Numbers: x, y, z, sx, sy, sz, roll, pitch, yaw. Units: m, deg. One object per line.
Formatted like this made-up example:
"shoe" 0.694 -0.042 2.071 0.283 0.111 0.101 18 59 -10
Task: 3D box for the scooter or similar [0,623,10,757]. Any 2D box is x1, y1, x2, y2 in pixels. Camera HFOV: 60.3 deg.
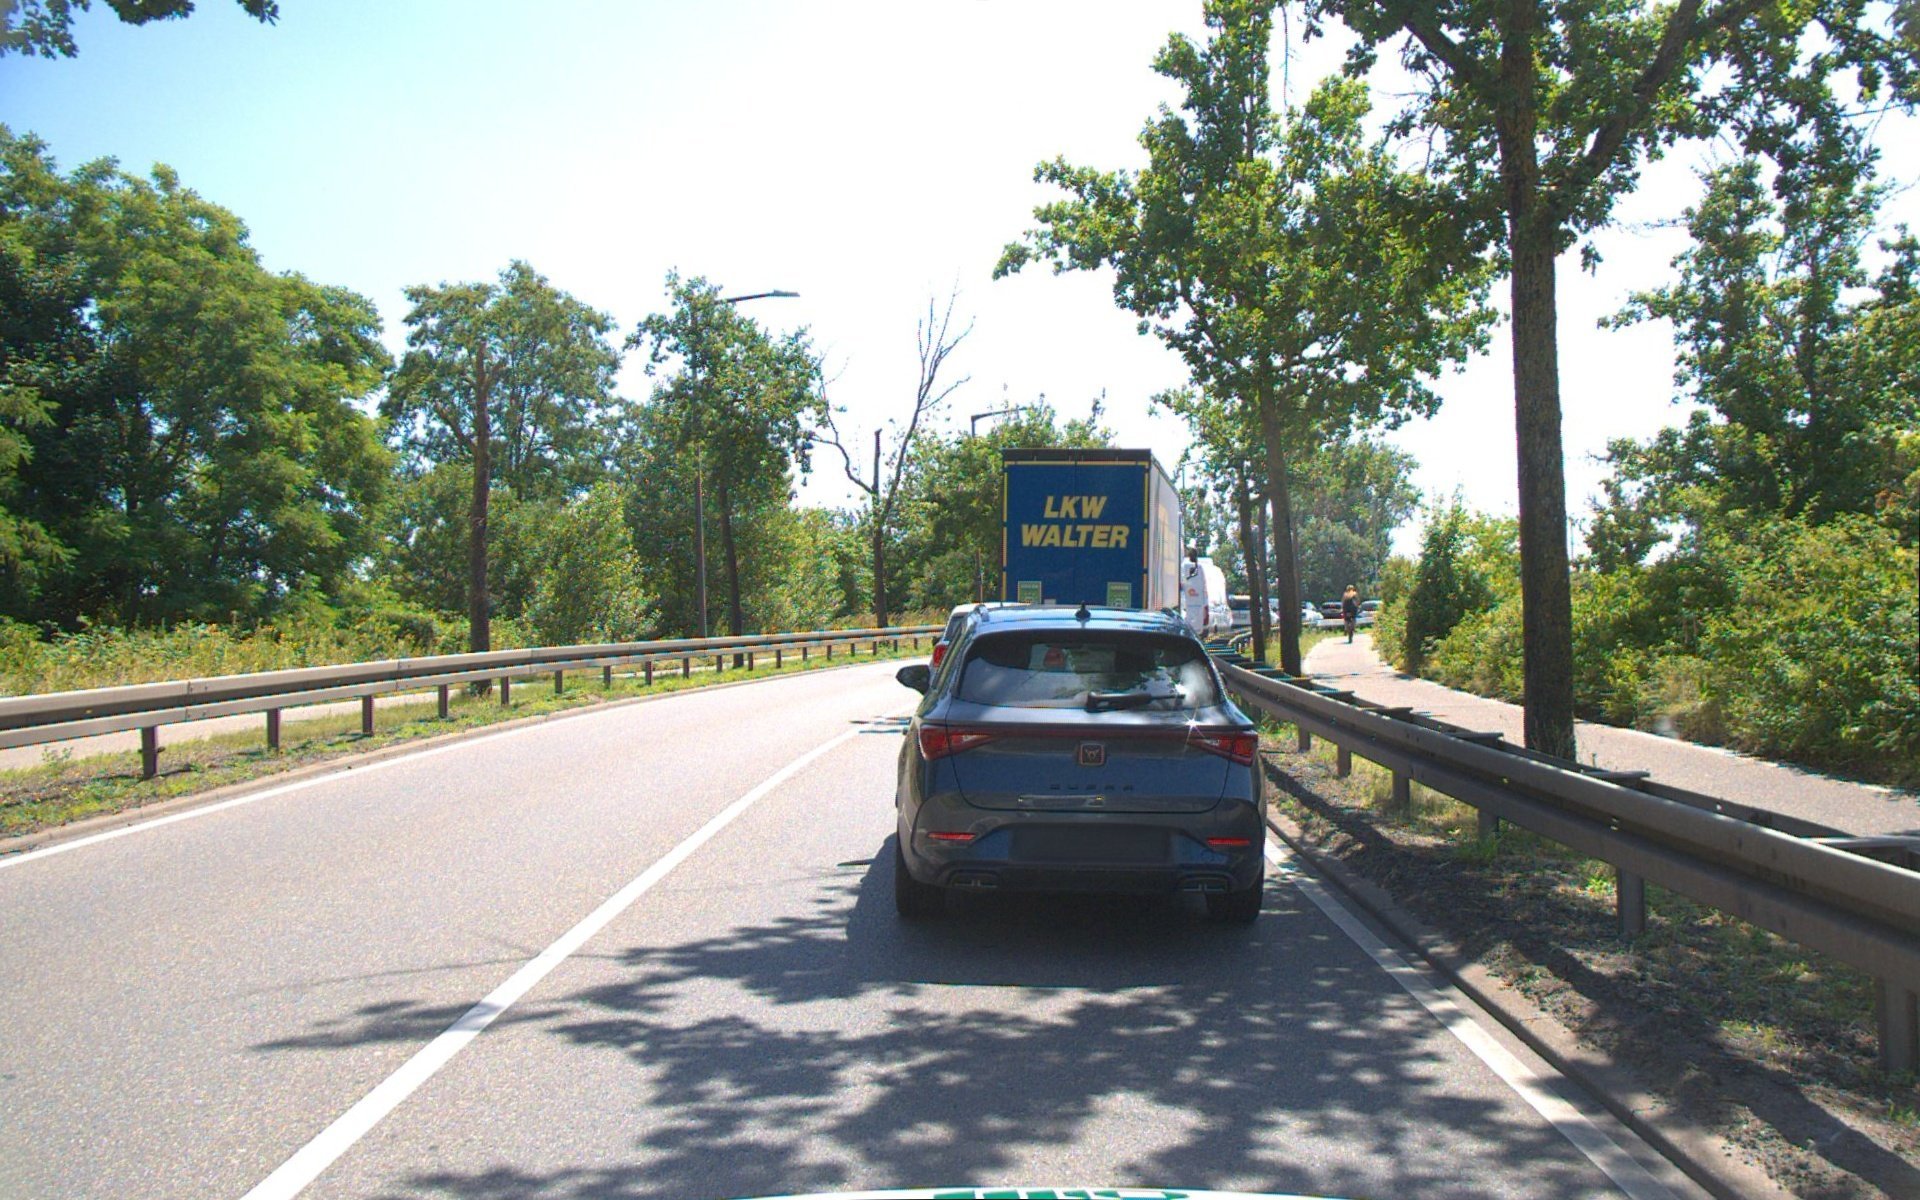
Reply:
"scooter or similar" -8.408 0.747 13.379 0.760 1.110 1.095 1 0 3

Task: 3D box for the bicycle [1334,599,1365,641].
"bicycle" 12.097 0.614 51.380 0.842 1.258 2.311 1 0 11

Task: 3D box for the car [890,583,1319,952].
"car" 0.523 0.677 8.547 1.709 1.457 3.878 1 0 -2

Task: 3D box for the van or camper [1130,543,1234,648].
"van or camper" 6.981 -0.131 51.318 2.414 3.051 6.090 1 0 15

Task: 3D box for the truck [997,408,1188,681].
"truck" 3.335 -0.893 35.900 2.887 4.527 16.811 1 0 9

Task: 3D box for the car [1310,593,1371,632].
"car" 17.964 0.600 77.960 1.953 1.747 4.866 1 0 23

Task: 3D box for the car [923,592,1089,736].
"car" 0.543 0.695 19.869 1.772 1.534 4.000 1 0 1

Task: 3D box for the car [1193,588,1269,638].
"car" 10.119 0.472 61.488 1.952 1.742 4.621 1 0 20

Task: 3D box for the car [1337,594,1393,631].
"car" 20.694 0.643 84.401 1.953 1.799 4.752 1 0 23

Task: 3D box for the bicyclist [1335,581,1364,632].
"bicyclist" 12.076 0.210 51.303 0.842 1.550 0.981 1 0 11

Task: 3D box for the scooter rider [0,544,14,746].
"scooter rider" -8.408 0.367 13.411 0.760 1.686 1.121 1 0 4

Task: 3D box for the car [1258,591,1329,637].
"car" 14.029 0.595 69.428 1.953 1.840 4.843 1 0 23
